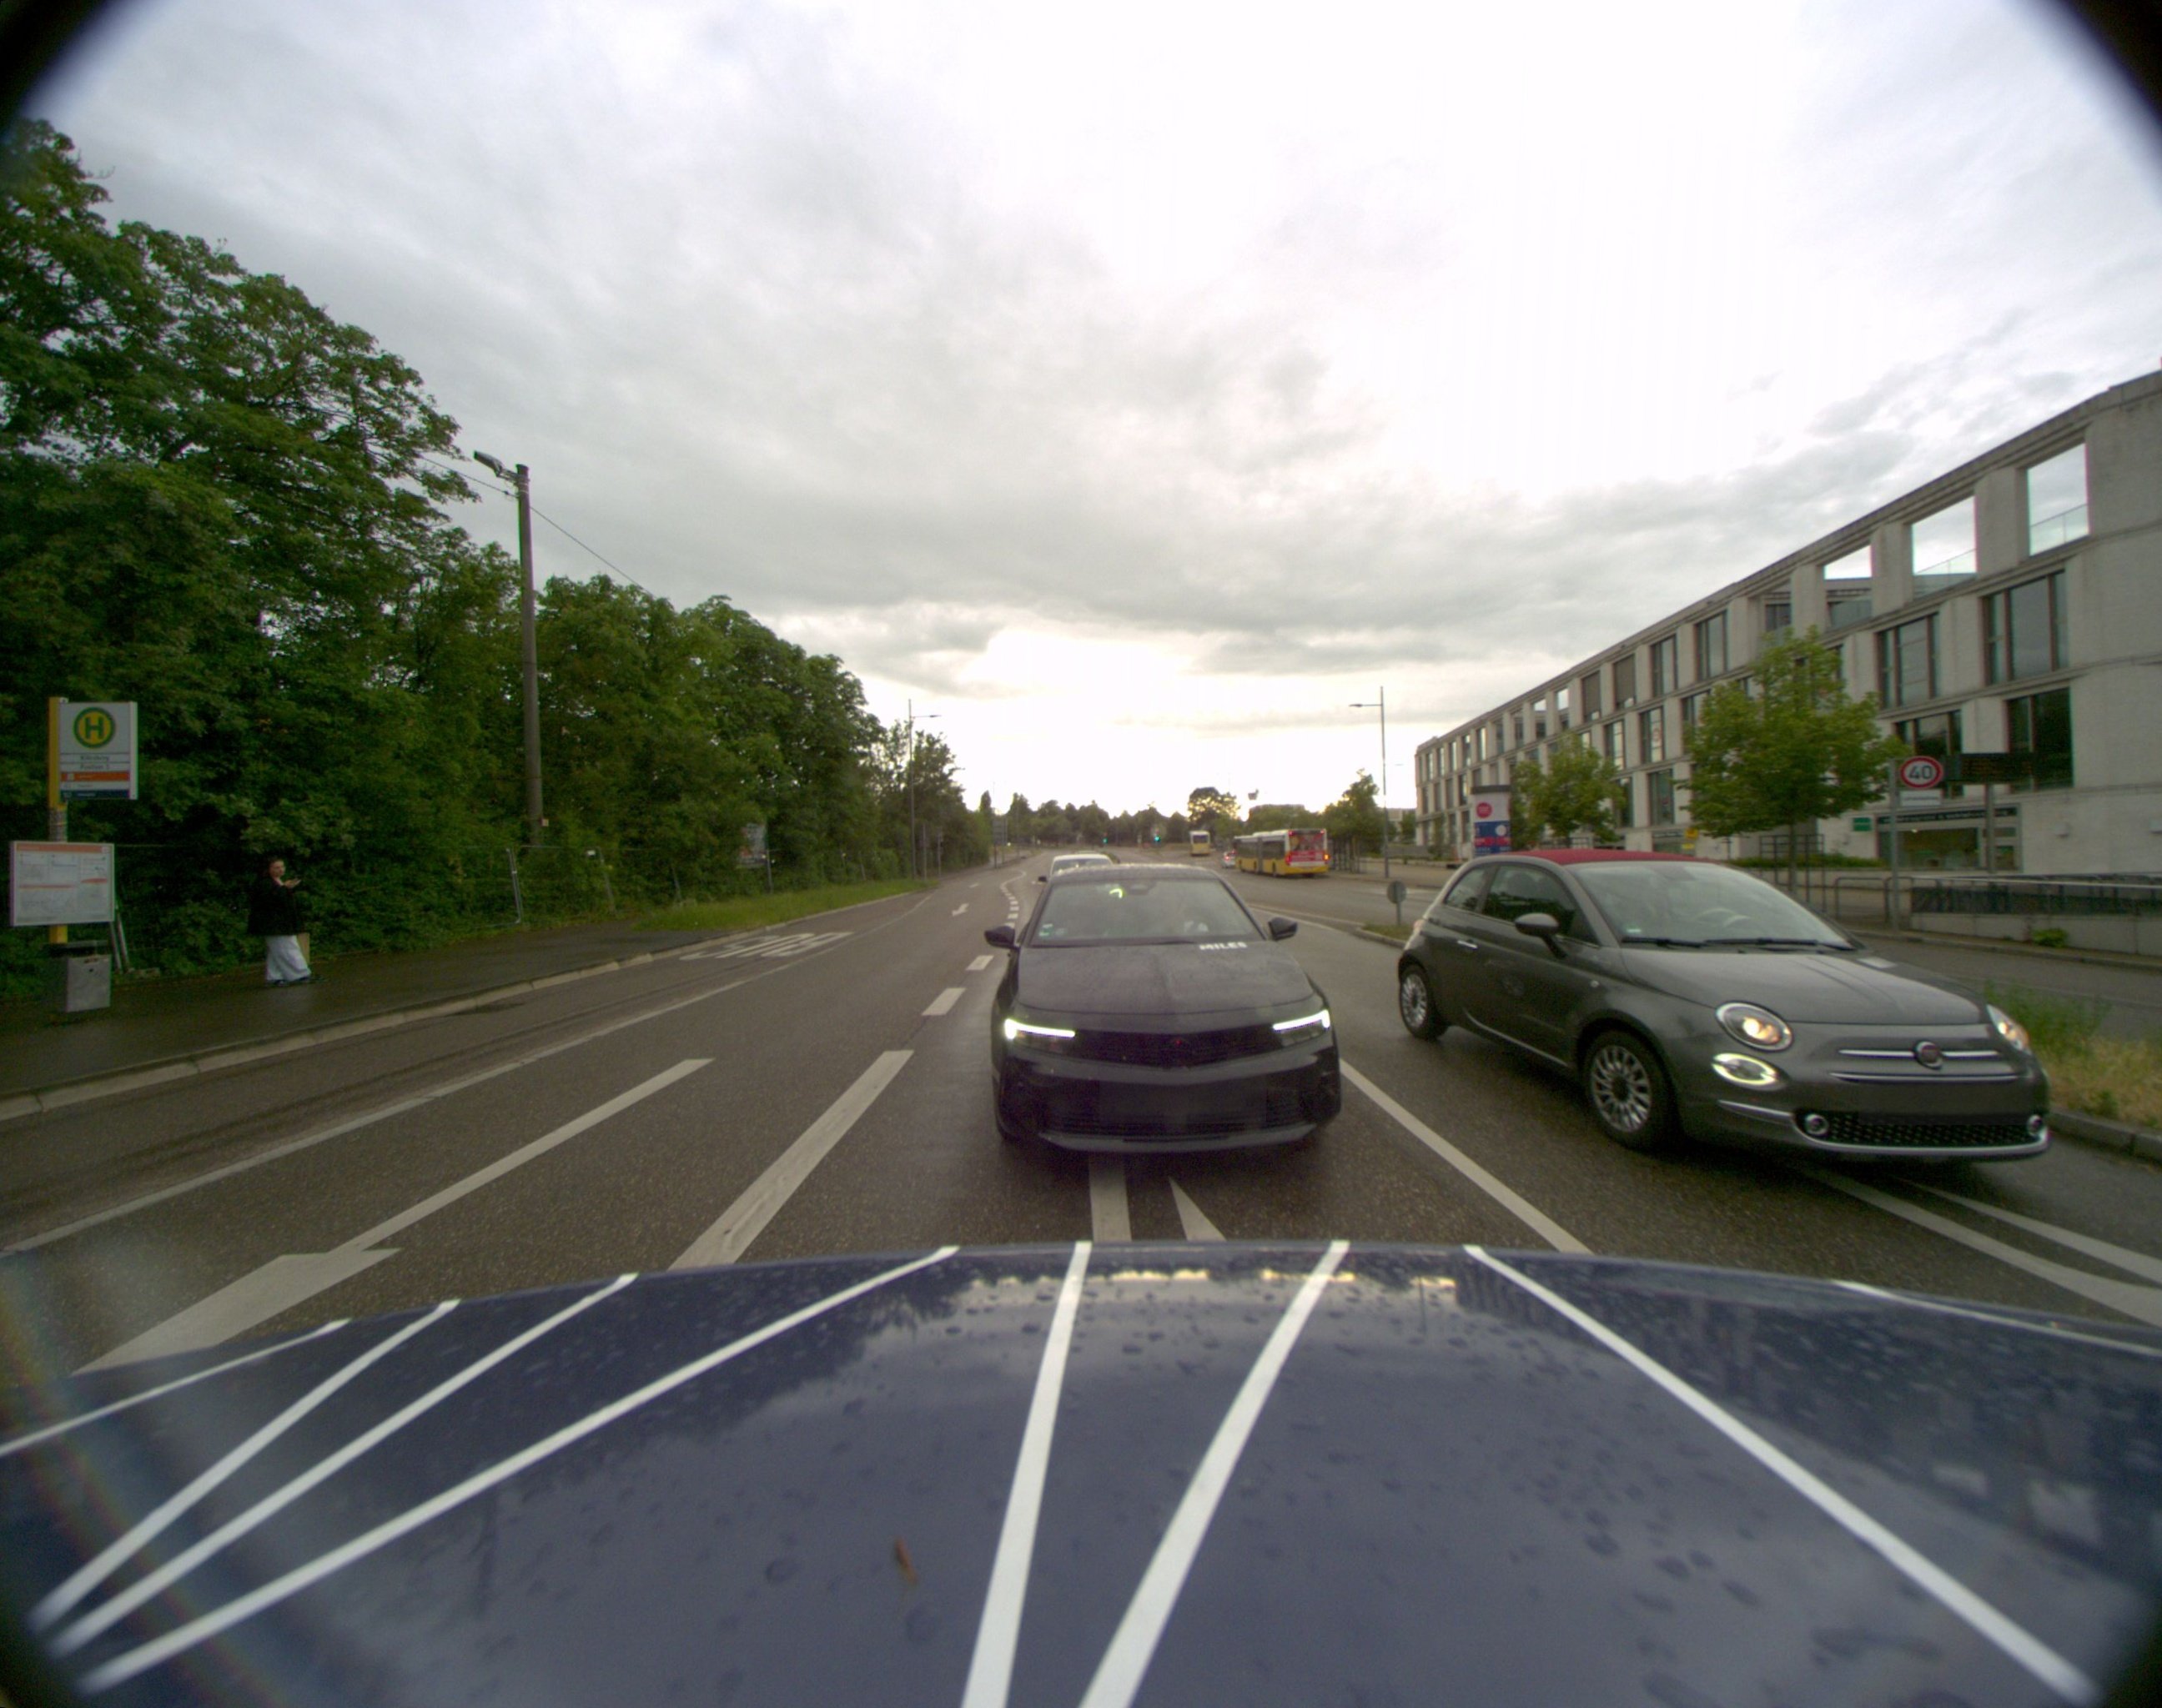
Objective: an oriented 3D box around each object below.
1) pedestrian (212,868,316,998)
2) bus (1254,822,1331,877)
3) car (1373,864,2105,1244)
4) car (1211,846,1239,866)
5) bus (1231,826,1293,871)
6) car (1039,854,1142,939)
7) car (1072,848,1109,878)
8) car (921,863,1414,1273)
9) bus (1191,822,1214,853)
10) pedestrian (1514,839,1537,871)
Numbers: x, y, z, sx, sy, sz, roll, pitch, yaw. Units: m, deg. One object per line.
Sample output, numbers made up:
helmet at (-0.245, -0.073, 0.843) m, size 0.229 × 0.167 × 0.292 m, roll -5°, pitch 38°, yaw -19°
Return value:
pedestrian at (-10.642, 1.010, 9.919) m, size 0.588 × 1.618 × 0.661 m, roll -1°, pitch 1°, yaw 1°
bus at (13.815, -0.316, 50.528) m, size 2.759 × 3.194 × 9.207 m, roll -2°, pitch 1°, yaw 2°
car at (3.418, 0.849, 4.906) m, size 1.631 × 1.473 × 3.505 m, roll -1°, pitch 1°, yaw -2°
car at (13.573, 0.155, 71.672) m, size 1.867 × 1.777 × 3.999 m, roll -2°, pitch 1°, yaw 1°
bus at (14.105, -0.455, 60.033) m, size 2.693 × 3.163 × 9.912 m, roll -2°, pitch 1°, yaw 2°
car at (0.063, 0.827, 17.122) m, size 1.902 × 1.524 × 4.765 m, roll -2°, pitch 1°, yaw -4°
car at (0.514, 0.507, 45.334) m, size 1.934 × 1.649 × 4.617 m, roll -1°, pitch 0°, yaw -2°
car at (0.375, 0.882, 5.394) m, size 1.901 × 1.456 × 4.767 m, roll -2°, pitch 1°, yaw 1°
bus at (18.440, -2.432, 114.306) m, size 2.757 × 4.129 × 19.359 m, roll -2°, pitch 1°, yaw 11°
pedestrian at (22.967, 0.042, 39.224) m, size 0.981 × 1.572 × 0.868 m, roll -2°, pitch 1°, yaw 31°
